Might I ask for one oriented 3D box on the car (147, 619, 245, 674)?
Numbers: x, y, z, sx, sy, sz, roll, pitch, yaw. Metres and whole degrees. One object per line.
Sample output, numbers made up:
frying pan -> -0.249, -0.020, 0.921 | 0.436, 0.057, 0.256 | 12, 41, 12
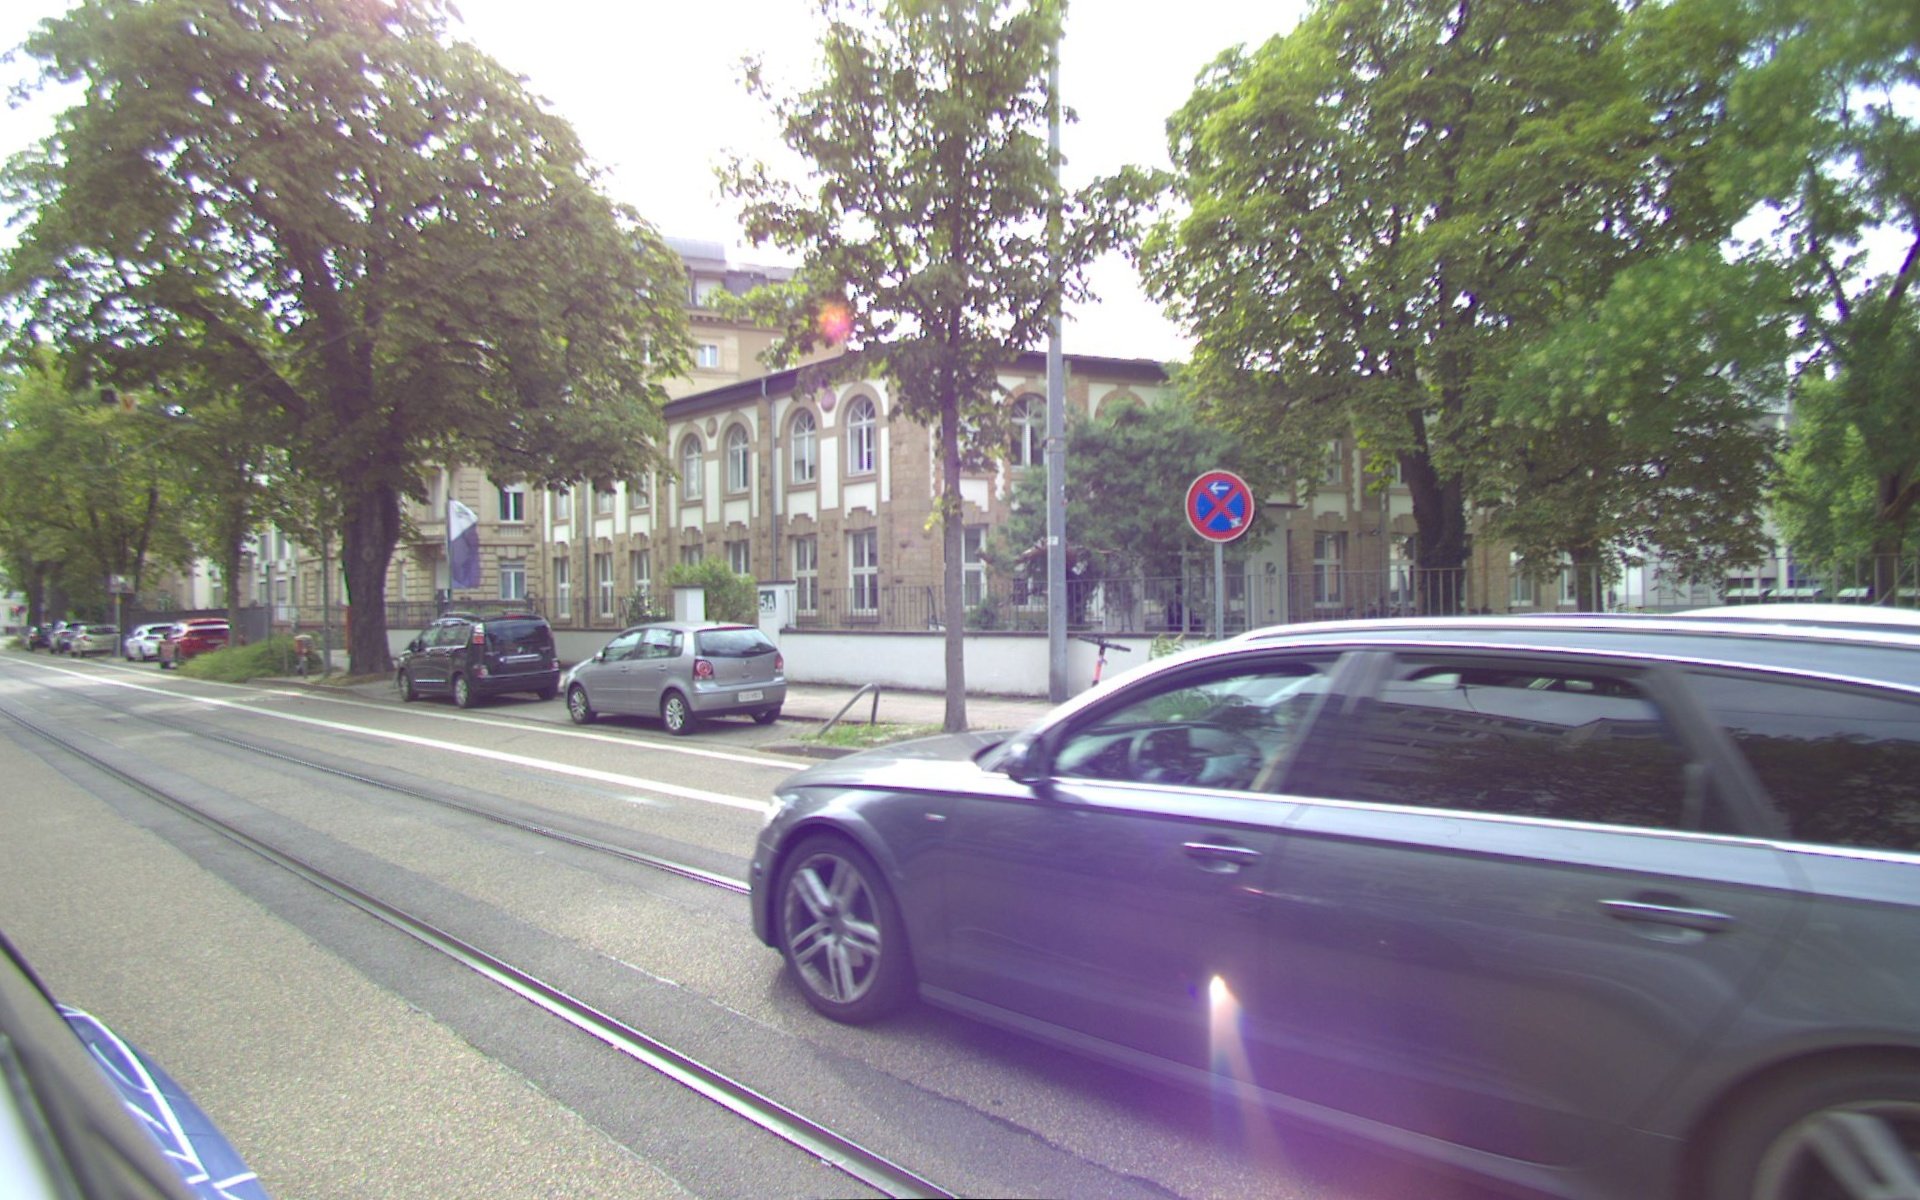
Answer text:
car -> -25.833, 1.531, 34.161 | 4.540, 1.667, 1.704 | -2, 1, 41

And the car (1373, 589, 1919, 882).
car -> 4.833, 0.717, 6.499 | 3.675, 1.498, 1.675 | -2, 0, 41

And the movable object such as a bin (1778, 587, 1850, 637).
movable object such as a bin -> 24.247, 0.337, 28.747 | 0.954, 1.385, 1.208 | -2, 0, -22

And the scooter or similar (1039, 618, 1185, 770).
scooter or similar -> 1.491, 0.862, 9.813 | 0.700, 1.354, 1.427 | -2, -2, 43

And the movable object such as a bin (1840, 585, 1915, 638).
movable object such as a bin -> 24.837, 0.318, 27.413 | 0.846, 1.385, 1.208 | -2, 0, -22

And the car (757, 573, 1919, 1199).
car -> 1.555, 0.698, 2.925 | 4.551, 1.459, 1.815 | -2, -1, 41

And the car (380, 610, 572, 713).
car -> -9.057, 1.076, 18.804 | 4.050, 1.659, 1.737 | -2, 0, 41

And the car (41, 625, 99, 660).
car -> -45.723, 2.162, 51.975 | 4.355, 1.686, 1.692 | -2, -1, 42

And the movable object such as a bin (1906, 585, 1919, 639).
movable object such as a bin -> 25.264, 0.303, 26.021 | 0.846, 1.385, 1.097 | -2, 0, -22

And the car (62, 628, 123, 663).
car -> -40.095, 2.086, 46.753 | 4.077, 1.479, 1.584 | -2, -1, 42

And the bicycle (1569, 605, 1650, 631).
bicycle -> 20.607, 0.578, 32.152 | 0.702, 0.779, 2.053 | -2, 0, -28

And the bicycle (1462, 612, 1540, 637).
bicycle -> 16.587, 0.764, 31.060 | 2.042, 0.713, 0.706 | -2, 0, 35

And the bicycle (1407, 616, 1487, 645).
bicycle -> 14.262, 0.885, 29.698 | 0.702, 0.779, 2.053 | -2, 0, -28

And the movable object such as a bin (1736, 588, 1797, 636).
movable object such as a bin -> 23.840, 0.351, 29.930 | 0.954, 1.385, 1.024 | -2, 0, -22

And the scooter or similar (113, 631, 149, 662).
scooter or similar -> -34.766, 1.947, 42.432 | 1.313, 1.232, 0.559 | -1, -1, 19

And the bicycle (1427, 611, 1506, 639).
bicycle -> 15.069, 0.746, 30.189 | 0.702, 0.779, 2.053 | -2, 0, -28

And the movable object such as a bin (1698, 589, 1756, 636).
movable object such as a bin -> 23.453, 0.364, 30.953 | 0.954, 1.385, 1.024 | -2, 0, -22

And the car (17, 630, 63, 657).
car -> -54.549, 2.540, 59.978 | 4.166, 1.435, 1.701 | -2, 1, 44

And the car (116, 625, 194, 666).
car -> -32.128, 1.787, 40.351 | 4.021, 1.434, 1.704 | -2, 1, 41

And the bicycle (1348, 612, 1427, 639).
bicycle -> 12.178, 0.728, 28.895 | 0.702, 0.713, 2.053 | -2, 0, -28

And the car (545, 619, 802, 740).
car -> -4.152, 1.031, 14.374 | 3.866, 1.438, 1.675 | -2, 0, 41

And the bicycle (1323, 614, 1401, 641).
bicycle -> 11.308, 0.754, 28.538 | 0.702, 0.713, 2.053 | -2, 0, -28
